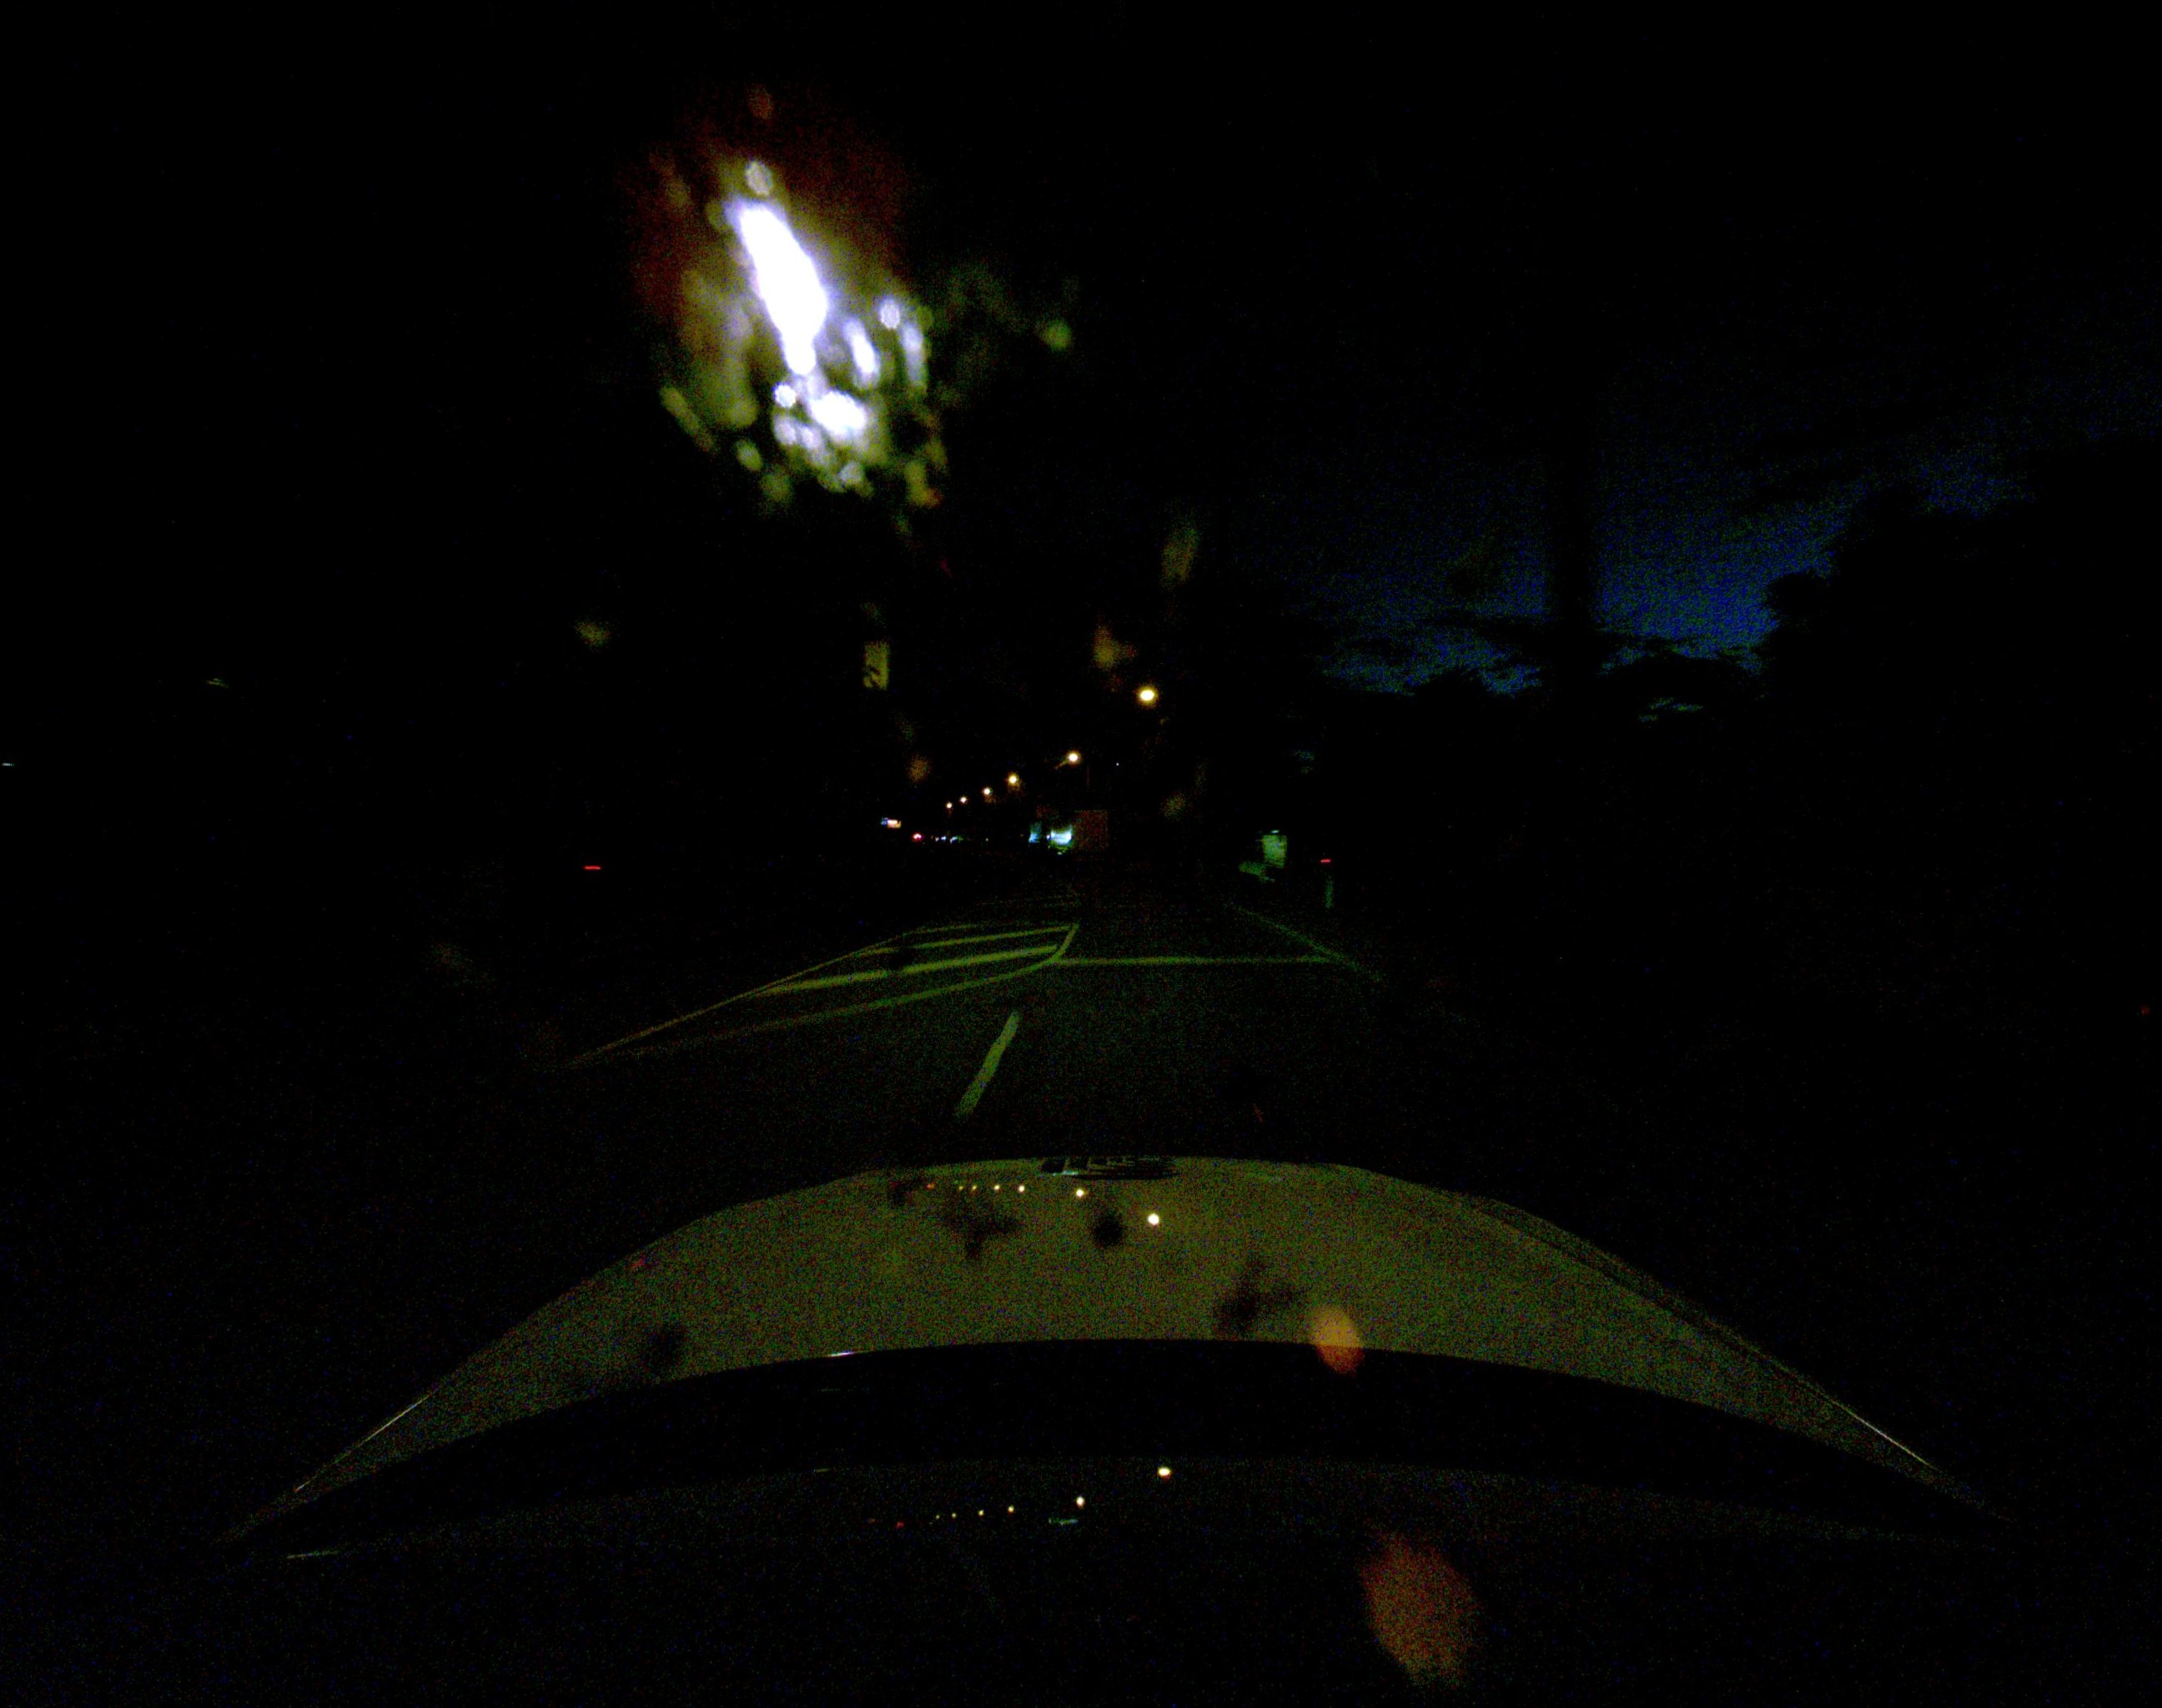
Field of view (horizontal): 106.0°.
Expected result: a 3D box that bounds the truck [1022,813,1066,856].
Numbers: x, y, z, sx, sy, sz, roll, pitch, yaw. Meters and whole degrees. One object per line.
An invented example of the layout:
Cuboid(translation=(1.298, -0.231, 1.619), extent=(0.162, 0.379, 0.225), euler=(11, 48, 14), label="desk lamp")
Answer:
Cuboid(translation=(-3.782, -1.869, 80.649), extent=(2.831, 3.983, 10.304), euler=(-1, 1, -11), label="truck")

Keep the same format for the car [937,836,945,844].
Cuboid(translation=(-37.112, -3.815, 215.931), extent=(1.996, 2.145, 3.982), euler=(0, 1, -14), label="car")

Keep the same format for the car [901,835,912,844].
Cuboid(translation=(-35.857, -3.078, 167.416), extent=(1.996, 1.793, 3.982), euler=(0, 1, -14), label="car")

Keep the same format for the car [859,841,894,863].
Cuboid(translation=(-14.827, -0.179, 58.881), extent=(1.835, 1.493, 4.494), euler=(0, 1, -22), label="car")

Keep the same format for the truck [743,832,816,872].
Cuboid(translation=(-15.549, -0.130, 42.363), extent=(1.988, 1.900, 5.313), euler=(1, 1, -2), label="truck")

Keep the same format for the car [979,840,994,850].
Cuboid(translation=(-14.920, -1.404, 128.316), extent=(1.855, 1.519, 3.801), euler=(-1, 1, -13), label="car")

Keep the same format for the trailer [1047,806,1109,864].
Cuboid(translation=(-0.480, -1.422, 63.755), extent=(2.807, 3.983, 13.935), euler=(-1, 1, -8), label="trailer")

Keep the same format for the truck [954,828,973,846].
Cuboid(translation=(-23.707, -3.392, 163.568), extent=(3.156, 3.463, 6.642), euler=(-1, 1, -14), label="truck")

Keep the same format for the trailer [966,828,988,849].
Cuboid(translation=(-18.052, -2.673, 140.912), extent=(2.692, 3.464, 7.767), euler=(0, 1, -16), label="trailer")

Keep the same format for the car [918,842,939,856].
Cuboid(translation=(-17.494, -0.597, 93.206), extent=(1.997, 1.636, 4.750), euler=(0, 1, -15), label="car")

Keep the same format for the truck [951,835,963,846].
Cuboid(translation=(-26.689, -2.913, 175.314), extent=(1.996, 2.407, 5.268), euler=(0, 1, -14), label="truck")

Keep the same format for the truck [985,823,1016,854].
Cuboid(translation=(-11.238, -2.111, 113.298), extent=(3.521, 3.983, 10.308), euler=(-1, 1, -10), label="truck")

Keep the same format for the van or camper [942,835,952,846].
Cuboid(translation=(-32.328, -3.315, 196.136), extent=(1.996, 2.581, 4.893), euler=(0, 1, -13), label="van or camper")

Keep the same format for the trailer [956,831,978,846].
Cuboid(translation=(-22.028, -2.936, 156.665), extent=(3.188, 2.748, 10.666), euler=(-1, 1, -14), label="trailer")

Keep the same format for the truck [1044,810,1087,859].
Cuboid(translation=(-1.411, -1.686, 70.423), extent=(2.829, 3.983, 6.032), euler=(-1, 1, -9), label="truck")
